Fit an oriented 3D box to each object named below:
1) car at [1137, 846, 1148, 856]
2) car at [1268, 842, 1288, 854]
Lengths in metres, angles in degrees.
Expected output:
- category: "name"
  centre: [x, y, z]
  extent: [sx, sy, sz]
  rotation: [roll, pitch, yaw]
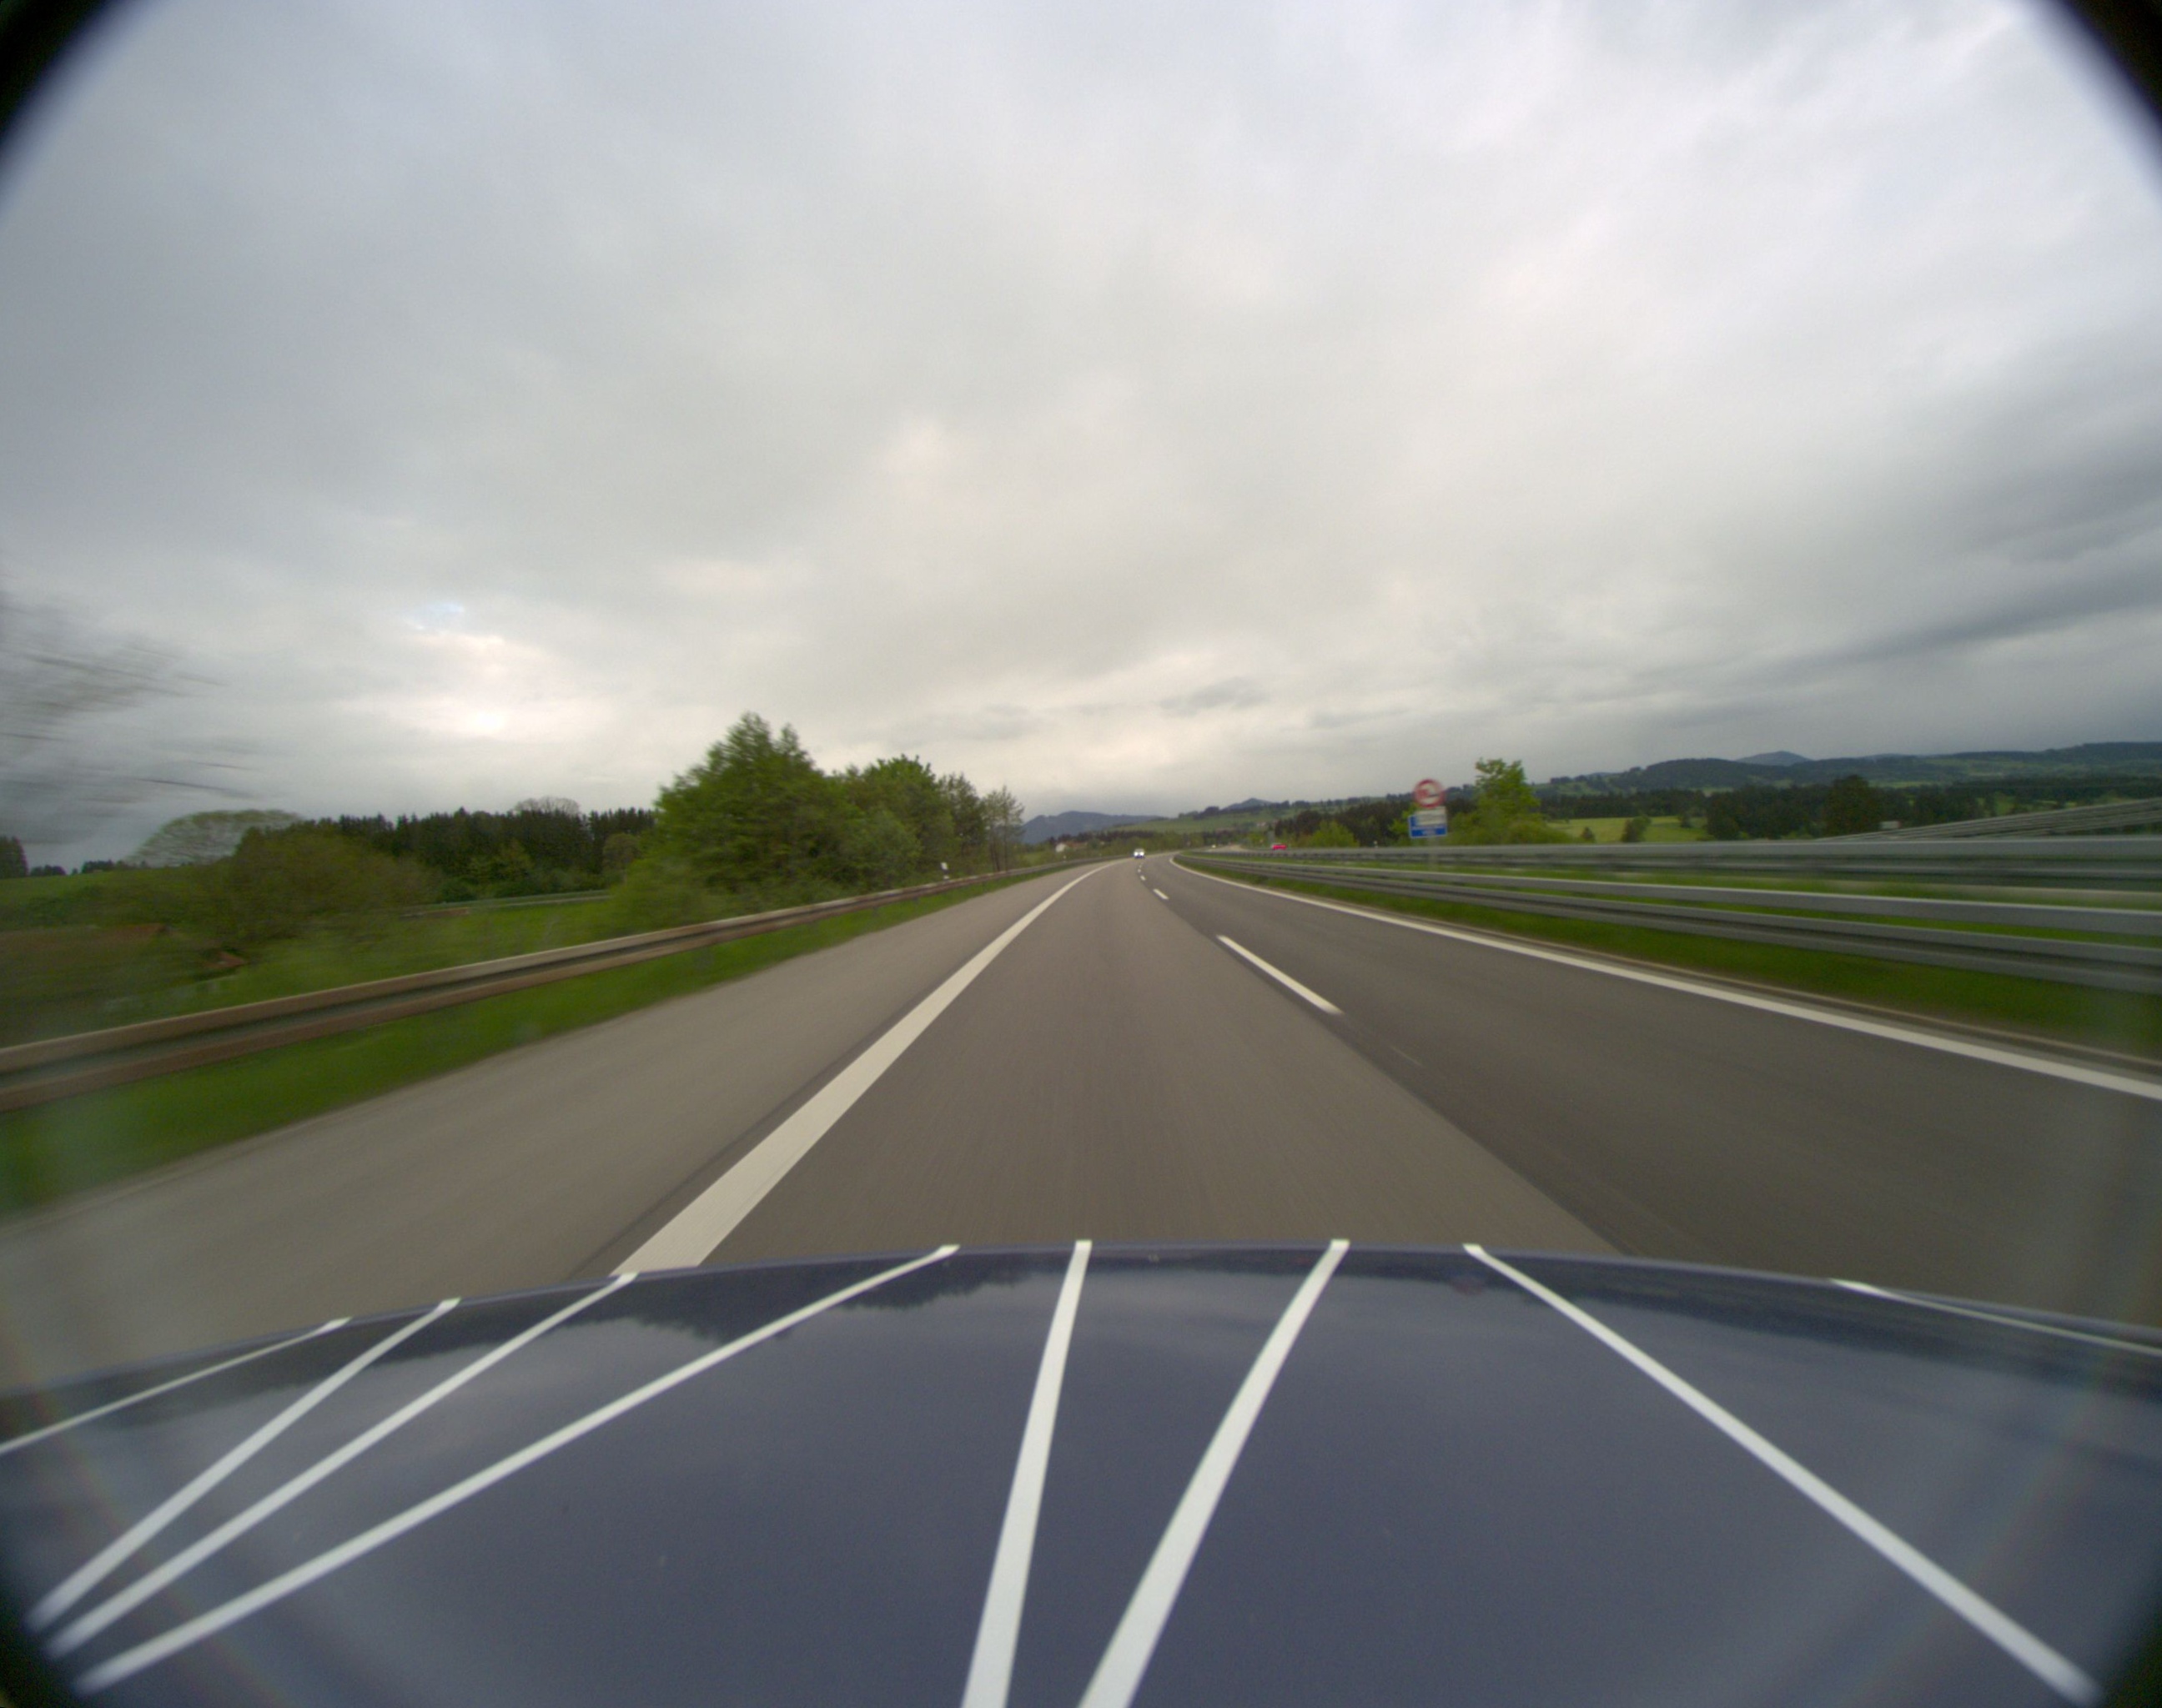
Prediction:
- category: "car"
  centre: [12.409, -0.649, 153.563]
  extent: [2.020, 1.899, 4.223]
  rotation: [-2, 0, 6]
- category: "car"
  centre: [27.323, -0.878, 105.251]
  extent: [1.998, 1.489, 4.152]
  rotation: [-5, 0, 6]
